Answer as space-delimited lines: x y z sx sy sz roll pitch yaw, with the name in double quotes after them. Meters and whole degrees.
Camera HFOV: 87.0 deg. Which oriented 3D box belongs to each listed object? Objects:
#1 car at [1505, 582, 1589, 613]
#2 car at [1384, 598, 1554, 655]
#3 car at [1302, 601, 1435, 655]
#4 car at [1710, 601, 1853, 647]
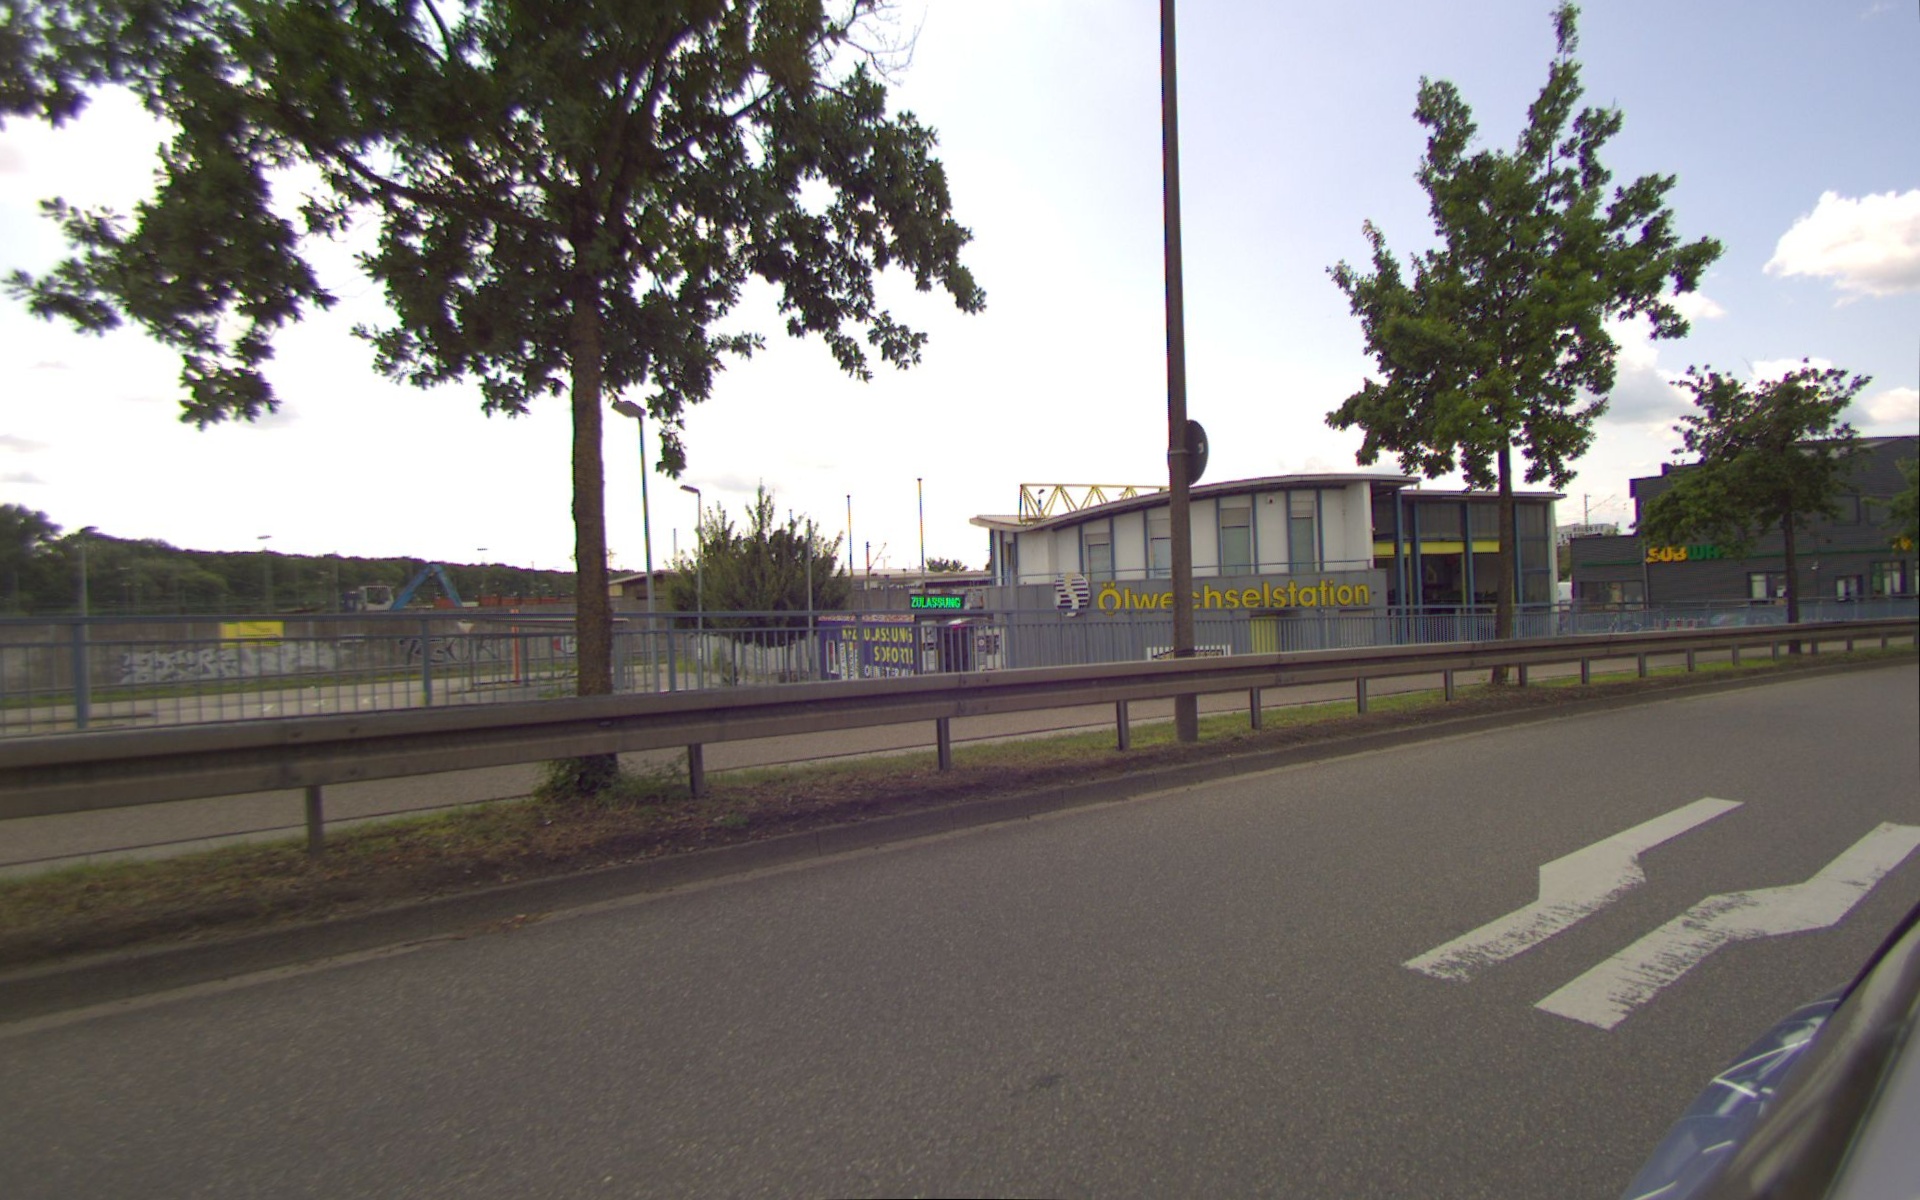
25.981 -0.151 44.951 1.969 1.301 4.363 -1 1 12 "car"
20.385 1.011 40.852 2.188 2.039 5.826 -3 1 -30 "car"
16.630 1.140 41.486 2.187 2.039 4.793 -1 -1 -26 "car"
27.878 0.766 34.346 4.652 1.376 2.003 -1 1 -26 "car"
